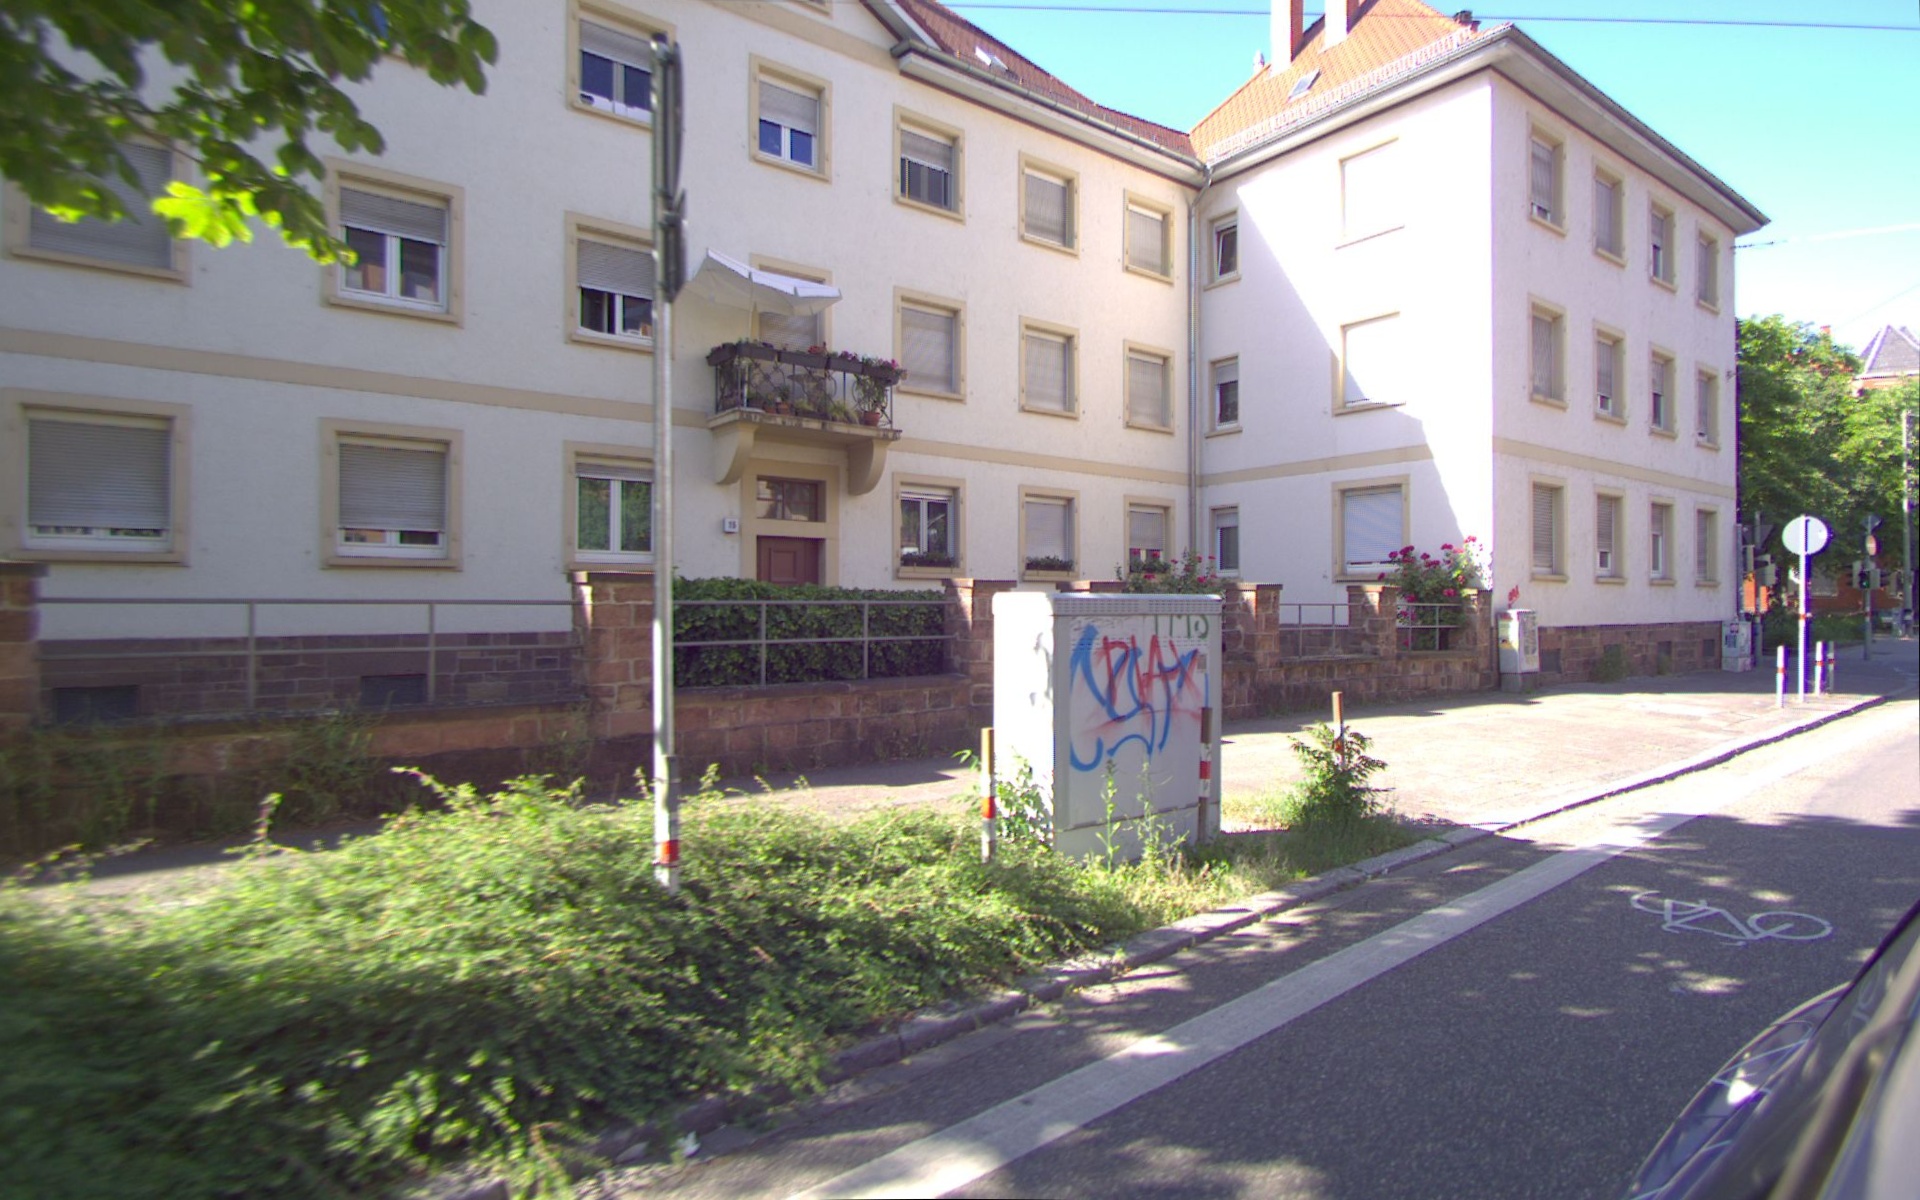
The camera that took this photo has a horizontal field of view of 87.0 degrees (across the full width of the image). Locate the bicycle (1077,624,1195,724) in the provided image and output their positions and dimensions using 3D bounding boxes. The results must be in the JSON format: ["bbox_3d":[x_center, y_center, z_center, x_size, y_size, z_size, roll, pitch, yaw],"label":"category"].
[{"bbox_3d":[2.135,0.860,12.149,1.644,1.107,0.459,0,-3,-42],"label":"bicycle"}]
